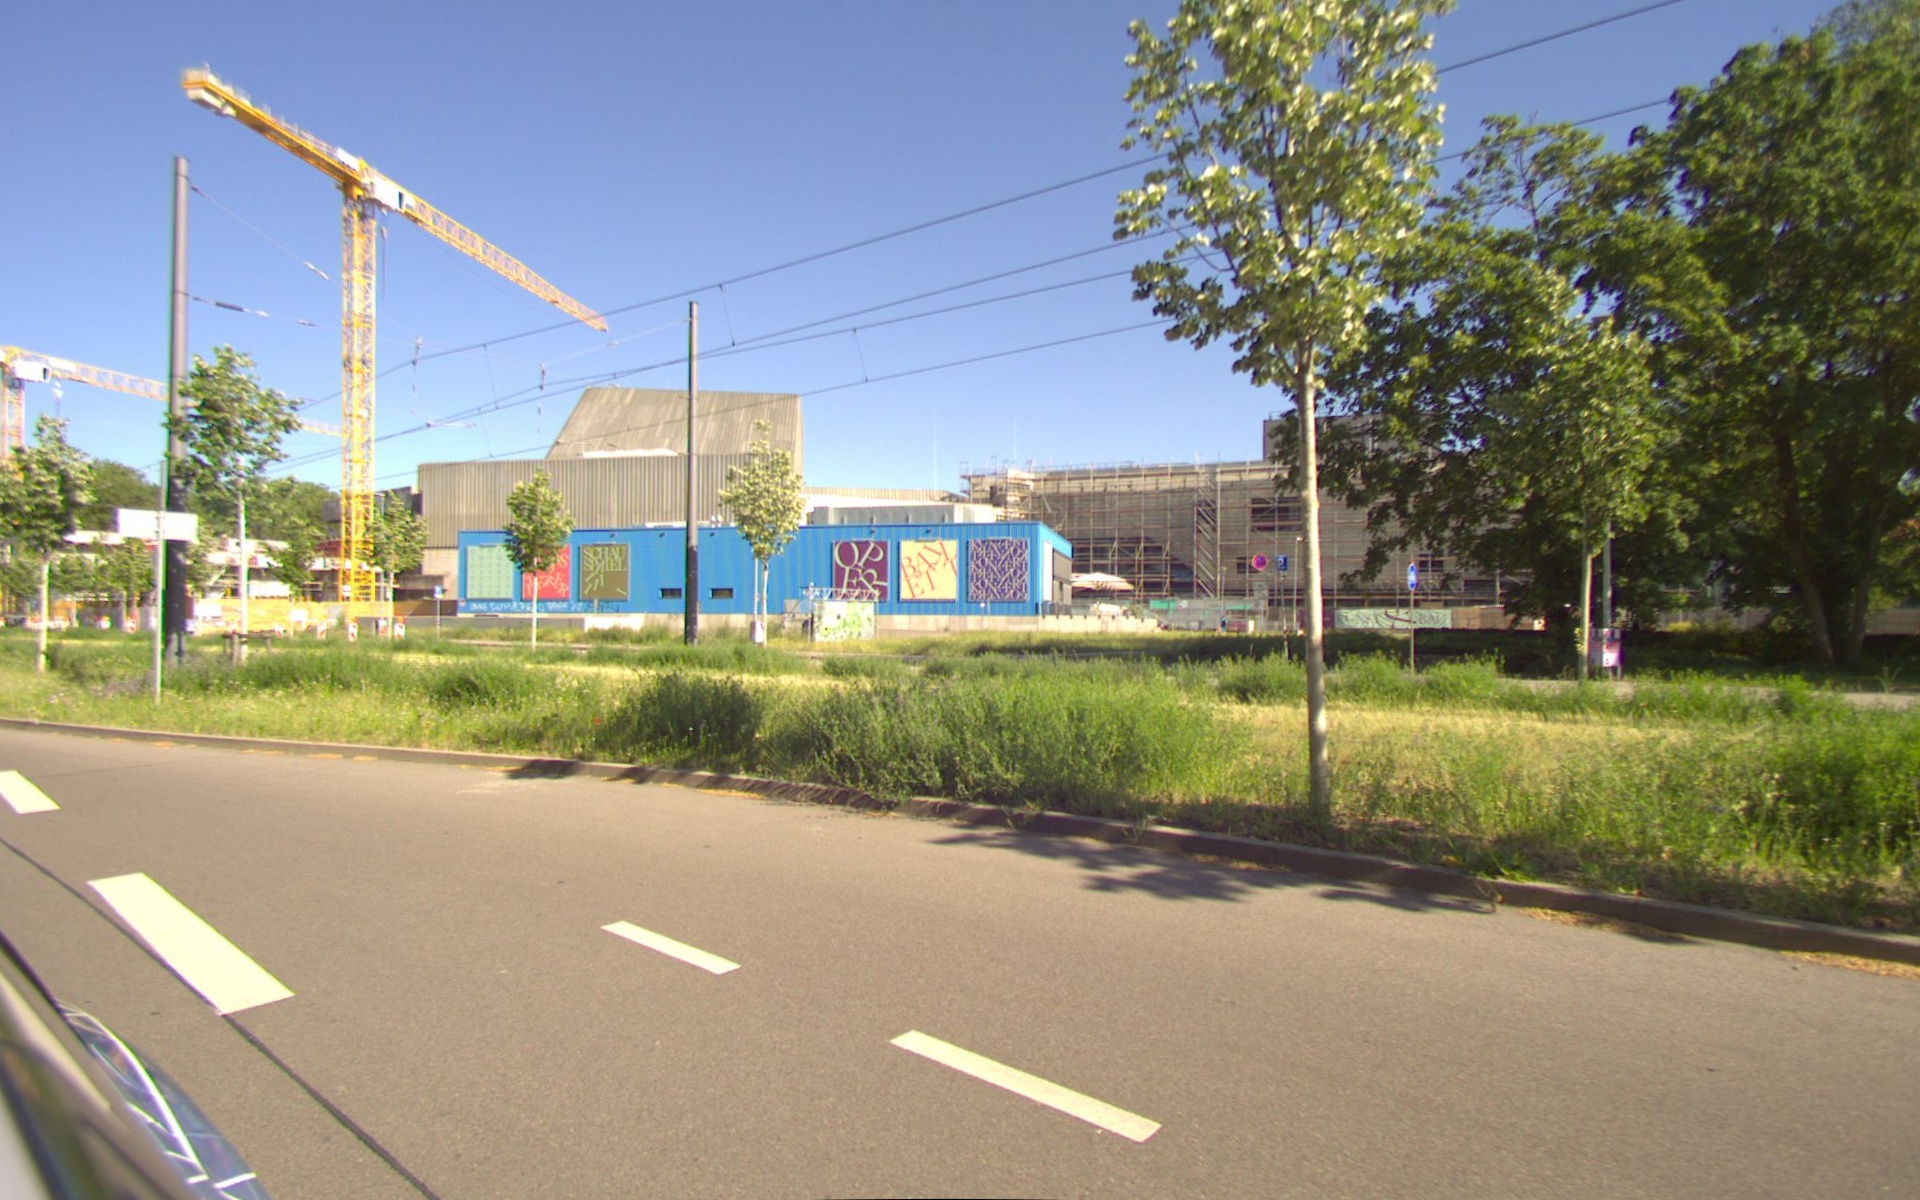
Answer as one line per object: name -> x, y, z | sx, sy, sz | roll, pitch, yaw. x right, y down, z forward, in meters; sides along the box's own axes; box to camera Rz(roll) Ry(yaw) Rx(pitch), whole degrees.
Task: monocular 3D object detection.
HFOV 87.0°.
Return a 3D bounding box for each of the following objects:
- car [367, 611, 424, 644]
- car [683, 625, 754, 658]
car -> -33.617, 1.614, 60.233 | 3.999, 1.811, 1.778 | 0, 1, 42
car -> -12.778, 2.160, 53.477 | 3.853, 1.547, 1.543 | 0, 1, 38
